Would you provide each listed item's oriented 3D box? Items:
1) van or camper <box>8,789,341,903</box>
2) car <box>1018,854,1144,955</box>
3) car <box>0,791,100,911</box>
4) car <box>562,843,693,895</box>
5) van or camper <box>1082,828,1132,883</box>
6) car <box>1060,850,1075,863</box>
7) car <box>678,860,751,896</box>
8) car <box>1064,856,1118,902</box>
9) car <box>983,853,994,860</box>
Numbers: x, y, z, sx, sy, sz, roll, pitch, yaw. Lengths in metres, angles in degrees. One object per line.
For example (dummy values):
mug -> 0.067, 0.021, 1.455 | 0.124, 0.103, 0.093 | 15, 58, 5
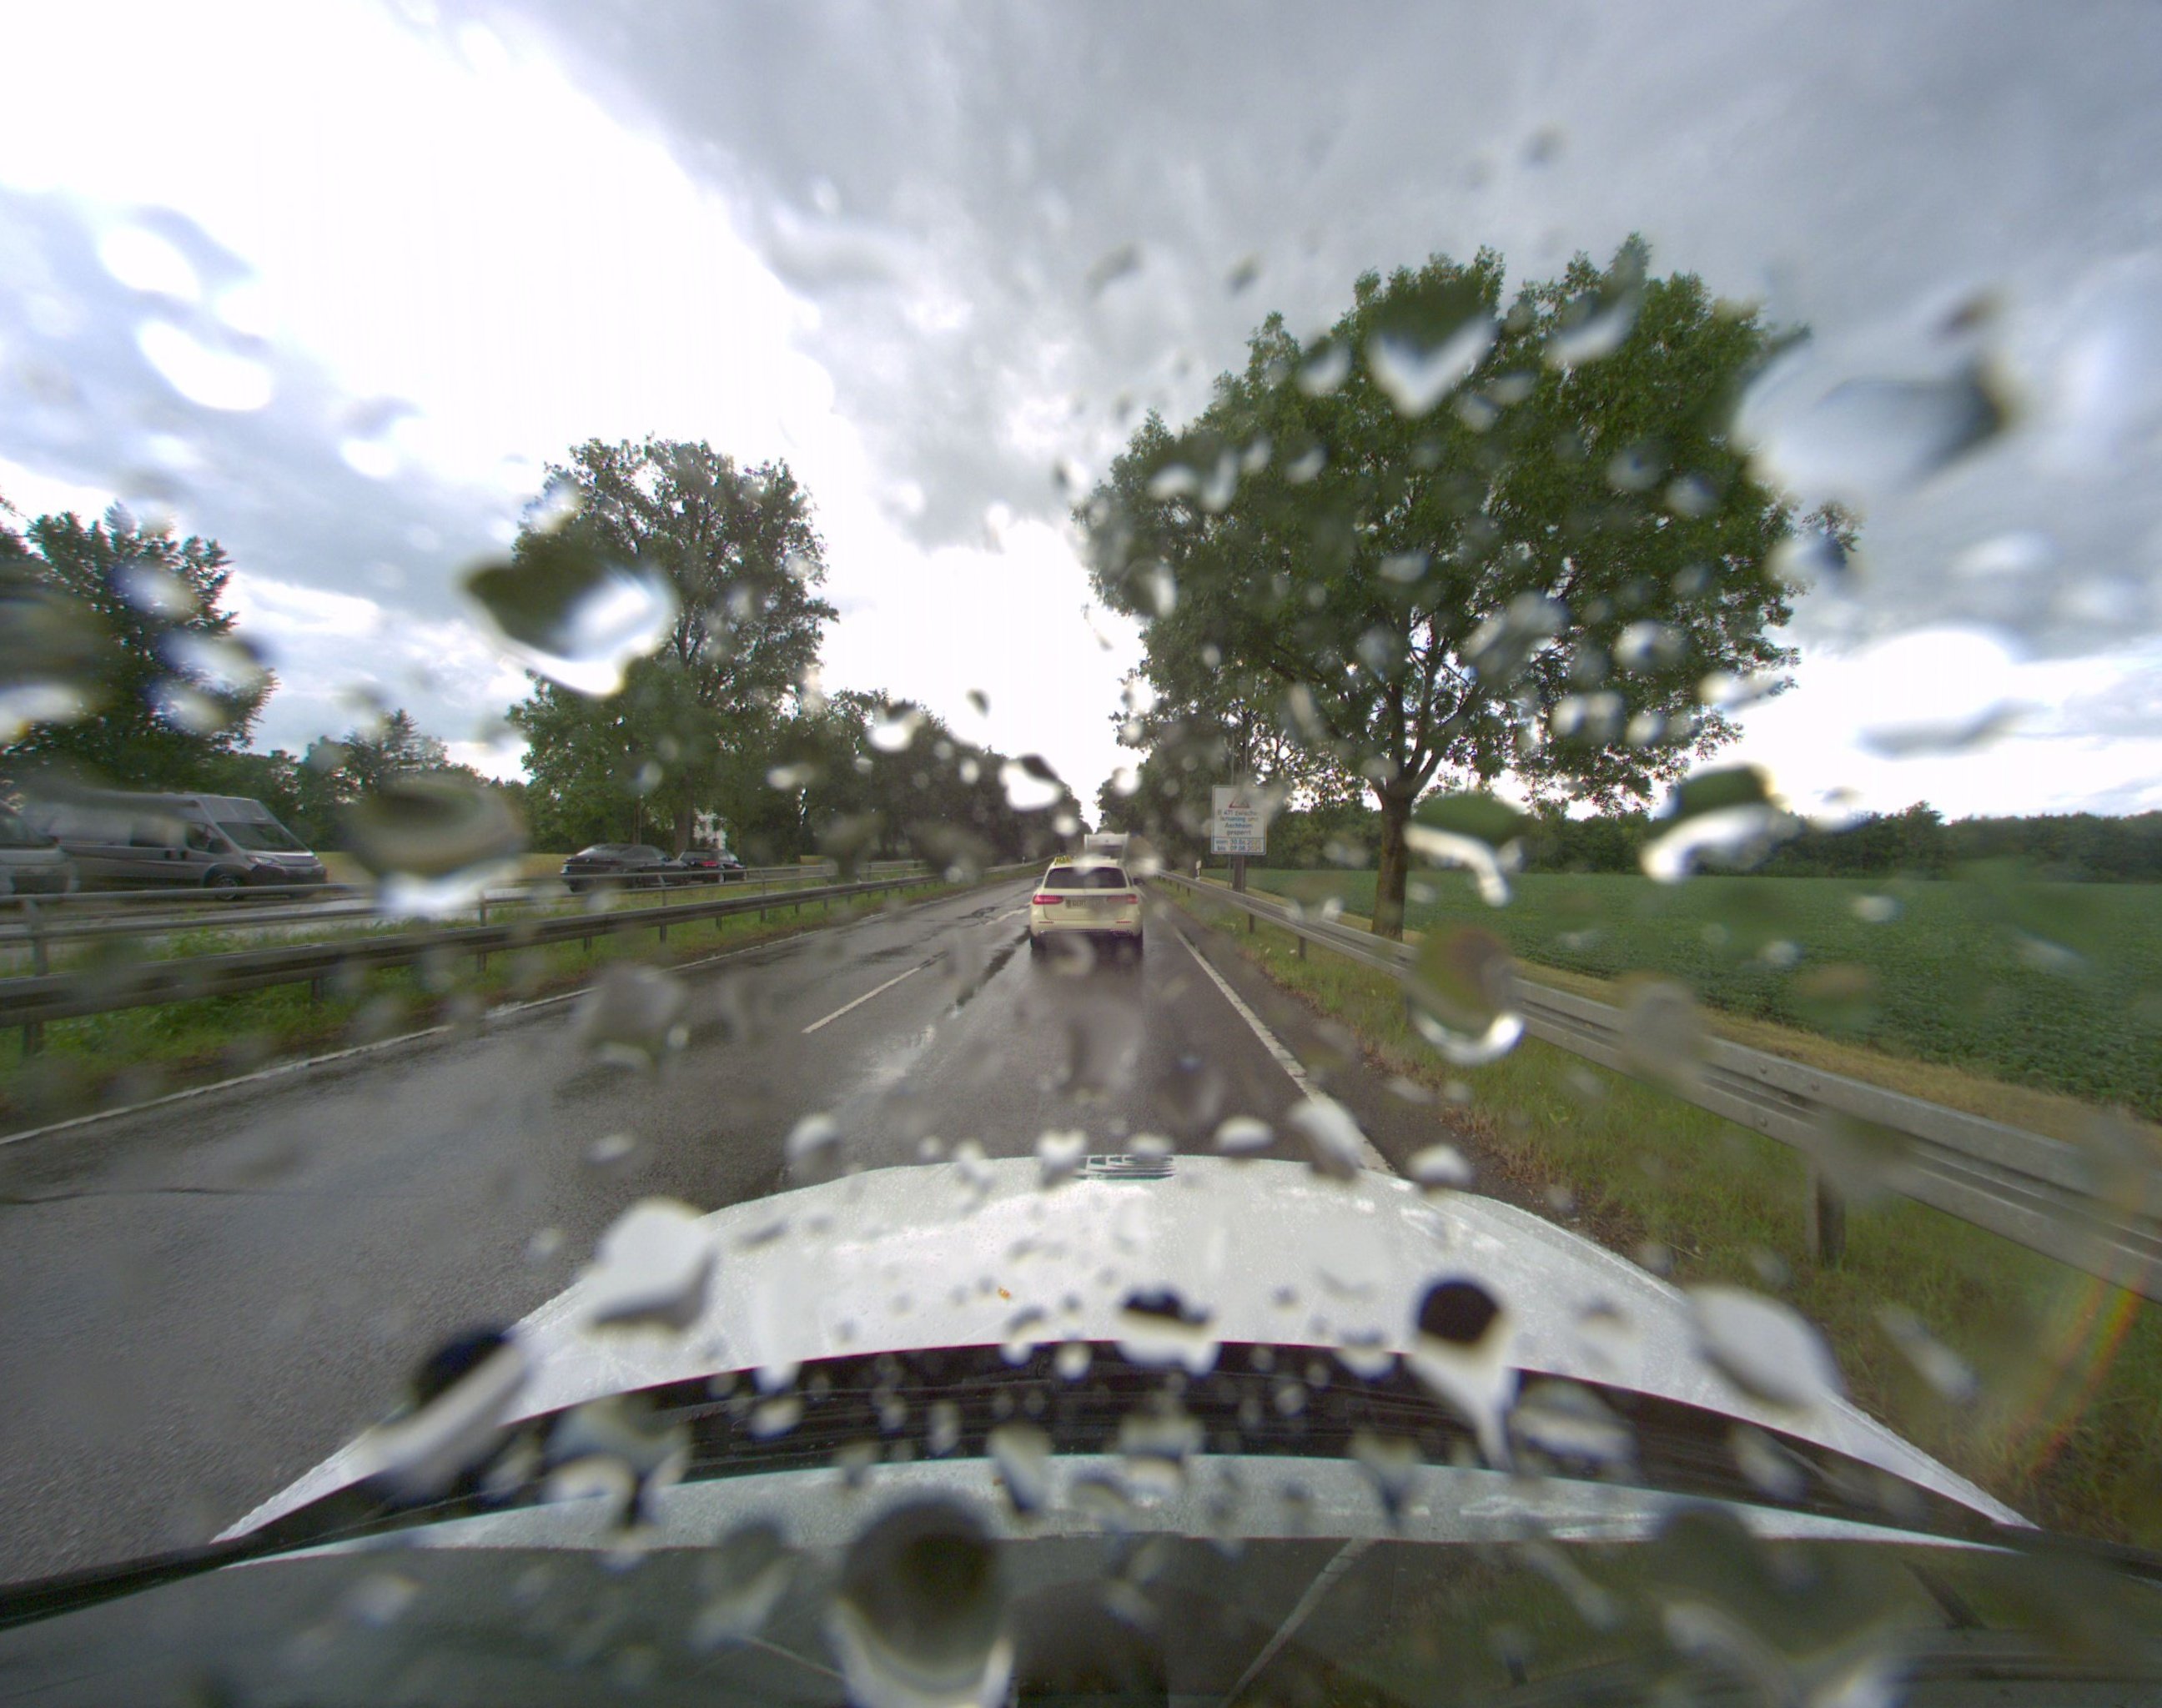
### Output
van or camper -> -23.110, -0.181, 20.986 | 5.863, 2.677, 2.078 | 1, 0, -4
car -> 0.102, 0.758, 14.160 | 1.857, 1.476, 4.003 | -1, 0, 3
car -> -24.712, -0.116, 17.323 | 5.077, 2.459, 1.999 | 1, 0, -1
car -> -14.439, 0.436, 26.309 | 1.511, 1.491, 5.117 | 1, 0, -2
van or camper -> 1.451, 0.080, 43.132 | 2.479, 2.685, 5.705 | 0, 0, 3
car -> -1.823, 0.345, 110.613 | 1.758, 1.619, 4.001 | -1, 0, 1
car -> -14.680, 0.935, 32.812 | 1.279, 1.331, 3.895 | 0, 0, -2
car -> 0.399, 0.792, 27.868 | 1.657, 1.430, 4.003 | -1, 0, 3
car -> -20.404, 0.603, 179.726 | 1.778, 1.416, 4.003 | 1, 0, 3
